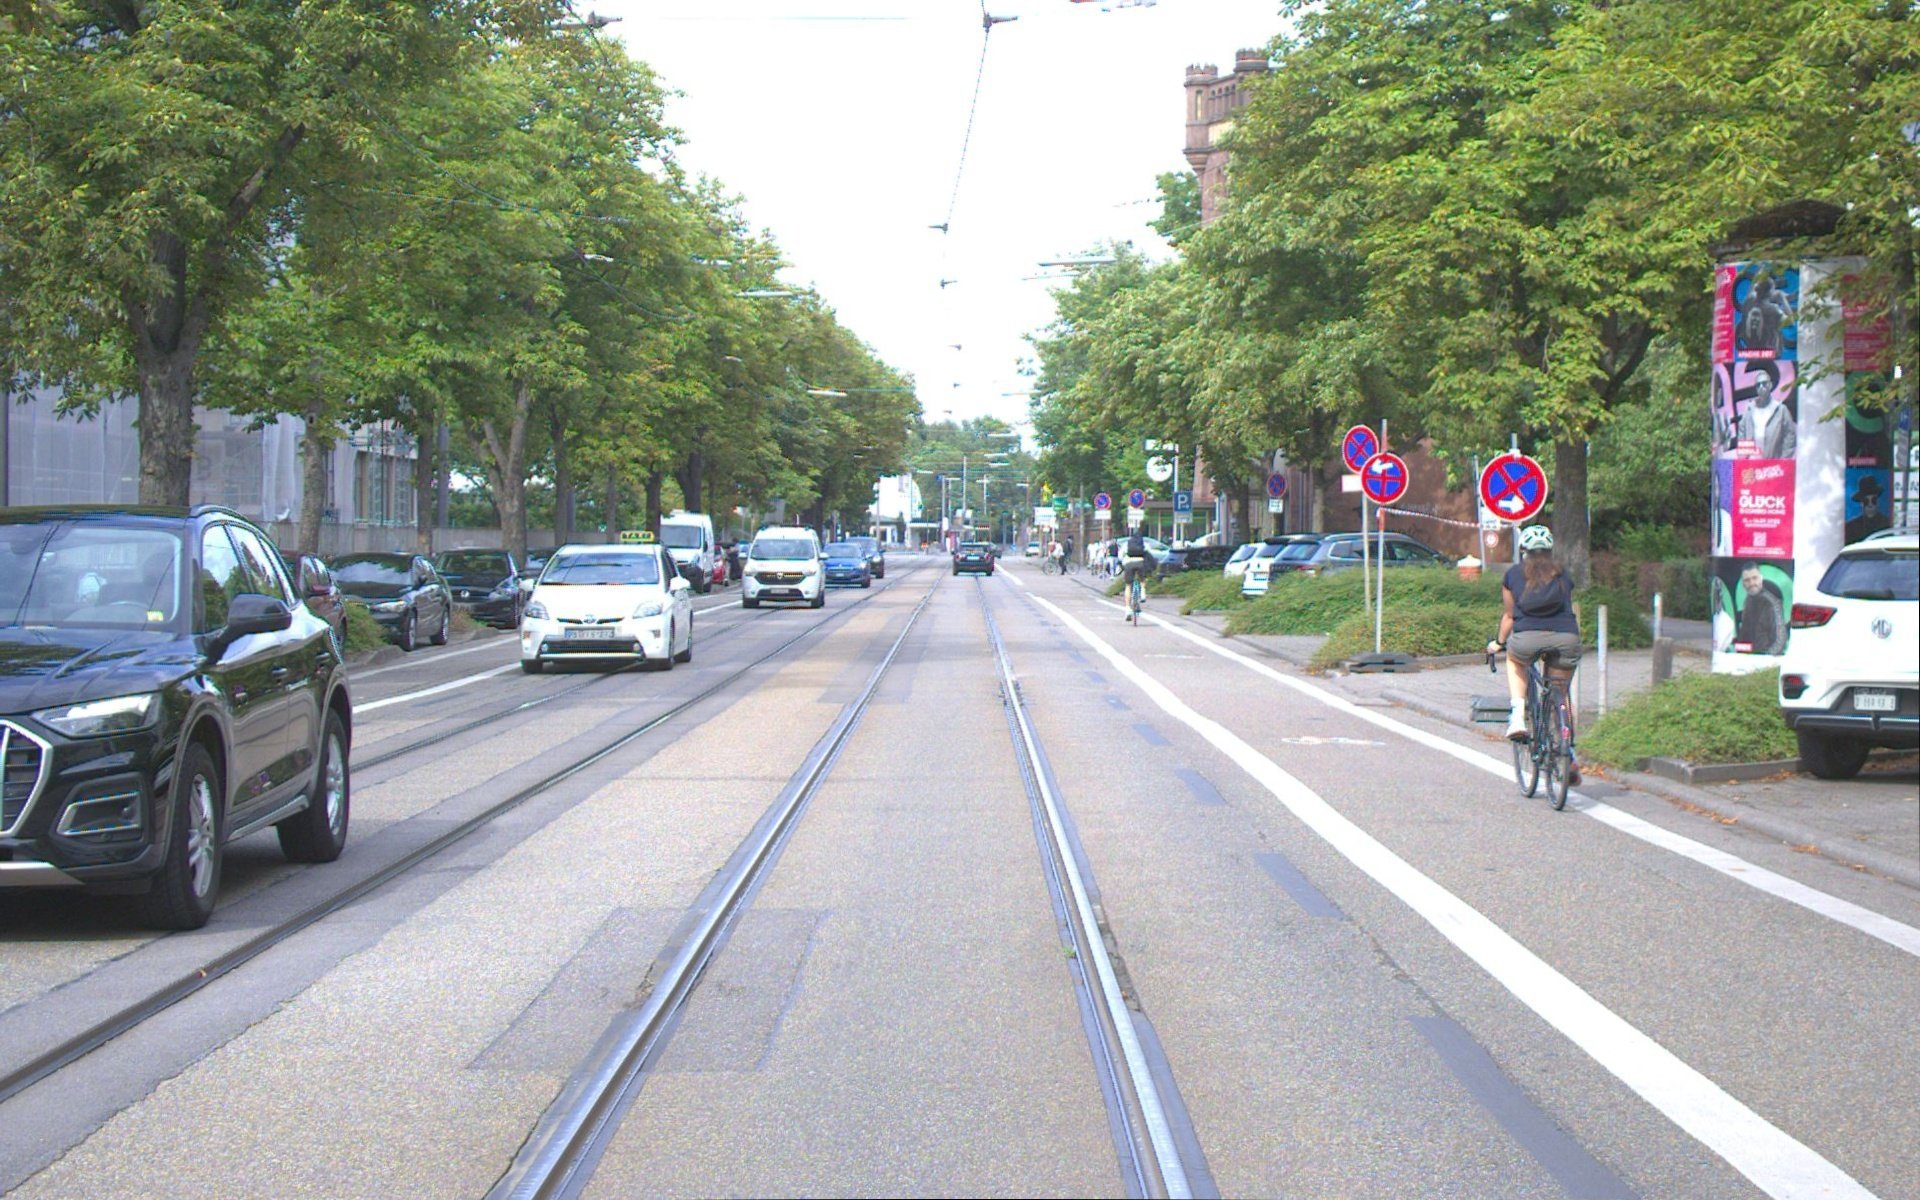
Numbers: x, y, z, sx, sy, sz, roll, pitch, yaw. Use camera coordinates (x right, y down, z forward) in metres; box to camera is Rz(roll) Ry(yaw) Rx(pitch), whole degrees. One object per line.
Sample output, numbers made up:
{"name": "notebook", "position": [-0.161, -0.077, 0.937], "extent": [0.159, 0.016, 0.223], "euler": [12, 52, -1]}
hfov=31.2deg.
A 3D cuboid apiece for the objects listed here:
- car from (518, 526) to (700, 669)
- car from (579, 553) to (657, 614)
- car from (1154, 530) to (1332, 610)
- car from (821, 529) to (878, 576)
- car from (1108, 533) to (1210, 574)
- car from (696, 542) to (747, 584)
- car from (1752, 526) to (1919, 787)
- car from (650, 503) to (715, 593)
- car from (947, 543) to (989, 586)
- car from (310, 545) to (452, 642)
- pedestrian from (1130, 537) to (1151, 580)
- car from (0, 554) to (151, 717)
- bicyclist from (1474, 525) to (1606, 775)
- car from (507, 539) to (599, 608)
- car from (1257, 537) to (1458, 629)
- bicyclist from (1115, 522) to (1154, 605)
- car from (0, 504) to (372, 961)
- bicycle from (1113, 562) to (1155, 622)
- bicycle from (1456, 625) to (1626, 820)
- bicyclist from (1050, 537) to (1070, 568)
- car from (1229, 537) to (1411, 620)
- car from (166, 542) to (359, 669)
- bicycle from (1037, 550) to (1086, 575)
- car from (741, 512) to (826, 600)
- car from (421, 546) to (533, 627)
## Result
{"name": "car", "position": [-4.139, -0.071, 41.142], "extent": [1.732, 1.607, 4.334], "euler": [0, 1, 0]}
{"name": "car", "position": [-8.231, -0.421, 82.947], "extent": [1.590, 1.398, 3.963], "euler": [1, 1, -2]}
{"name": "car", "position": [5.817, -0.607, 70.485], "extent": [1.681, 1.597, 3.637], "euler": [1, 1, 45]}
{"name": "car", "position": [-3.617, -1.574, 113.079], "extent": [1.732, 1.491, 4.378], "euler": [0, 1, 0]}
{"name": "car", "position": [8.370, -1.961, 144.751], "extent": [3.986, 1.687, 2.000], "euler": [1, 1, -5]}
{"name": "car", "position": [-8.250, -1.293, 118.973], "extent": [1.590, 1.398, 3.963], "euler": [1, 1, -2]}
{"name": "car", "position": [6.918, 0.338, 22.553], "extent": [1.681, 1.597, 3.637], "euler": [1, 1, 45]}
{"name": "car", "position": [-8.570, -1.615, 106.481], "extent": [1.720, 2.695, 5.471], "euler": [1, 1, -2]}
{"name": "car", "position": [0.340, -1.568, 151.923], "extent": [1.795, 1.817, 4.679], "euler": [1, 1, -1]}
{"name": "car", "position": [-8.735, -0.128, 52.116], "extent": [1.590, 1.398, 3.963], "euler": [1, 1, -2]}
{"name": "pedestrian", "position": [7.581, -1.755, 144.420], "extent": [0.748, 1.783, 0.730], "euler": [1, 0, 15]}
{"name": "car", "position": [-8.801, 0.288, 32.258], "extent": [1.590, 1.398, 3.963], "euler": [1, 1, -2]}
{"name": "bicyclist", "position": [3.446, 0.282, 20.471], "extent": [0.592, 1.454, 0.875], "euler": [1, 1, -2]}
{"name": "car", "position": [-8.577, -0.573, 72.724], "extent": [1.590, 1.398, 3.963], "euler": [1, 1, -2]}
{"name": "car", "position": [7.144, -0.315, 61.588], "extent": [1.681, 1.597, 3.637], "euler": [1, 1, 45]}
{"name": "bicyclist", "position": [3.161, -0.660, 62.315], "extent": [0.659, 1.491, 0.929], "euler": [1, 1, 1]}
{"name": "car", "position": [-3.764, 0.416, 14.295], "extent": [1.847, 1.607, 4.334], "euler": [1, 1, 1]}
{"name": "bicycle", "position": [3.150, -0.157, 62.317], "extent": [0.663, 1.040, 1.841], "euler": [1, 1, 1]}
{"name": "bicycle", "position": [3.437, 0.702, 20.477], "extent": [0.592, 1.040, 1.978], "euler": [1, 1, -2]}
{"name": "bicyclist", "position": [4.859, -2.322, 166.910], "extent": [0.847, 1.499, 0.768], "euler": [1, 1, 8]}
{"name": "car", "position": [7.172, -0.434, 68.392], "extent": [1.681, 1.597, 3.637], "euler": [1, 1, 45]}
{"name": "car", "position": [-8.647, 0.029, 42.915], "extent": [1.635, 1.491, 3.963], "euler": [1, 1, -1]}
{"name": "bicycle", "position": [4.944, -1.834, 166.911], "extent": [2.275, 1.185, 0.768], "euler": [1, 1, 8]}
{"name": "car", "position": [-3.915, -1.000, 76.802], "extent": [1.732, 1.878, 4.379], "euler": [1, 1, -1]}
{"name": "car", "position": [-8.732, -0.268, 62.427], "extent": [1.590, 1.398, 3.963], "euler": [1, 1, -2]}
